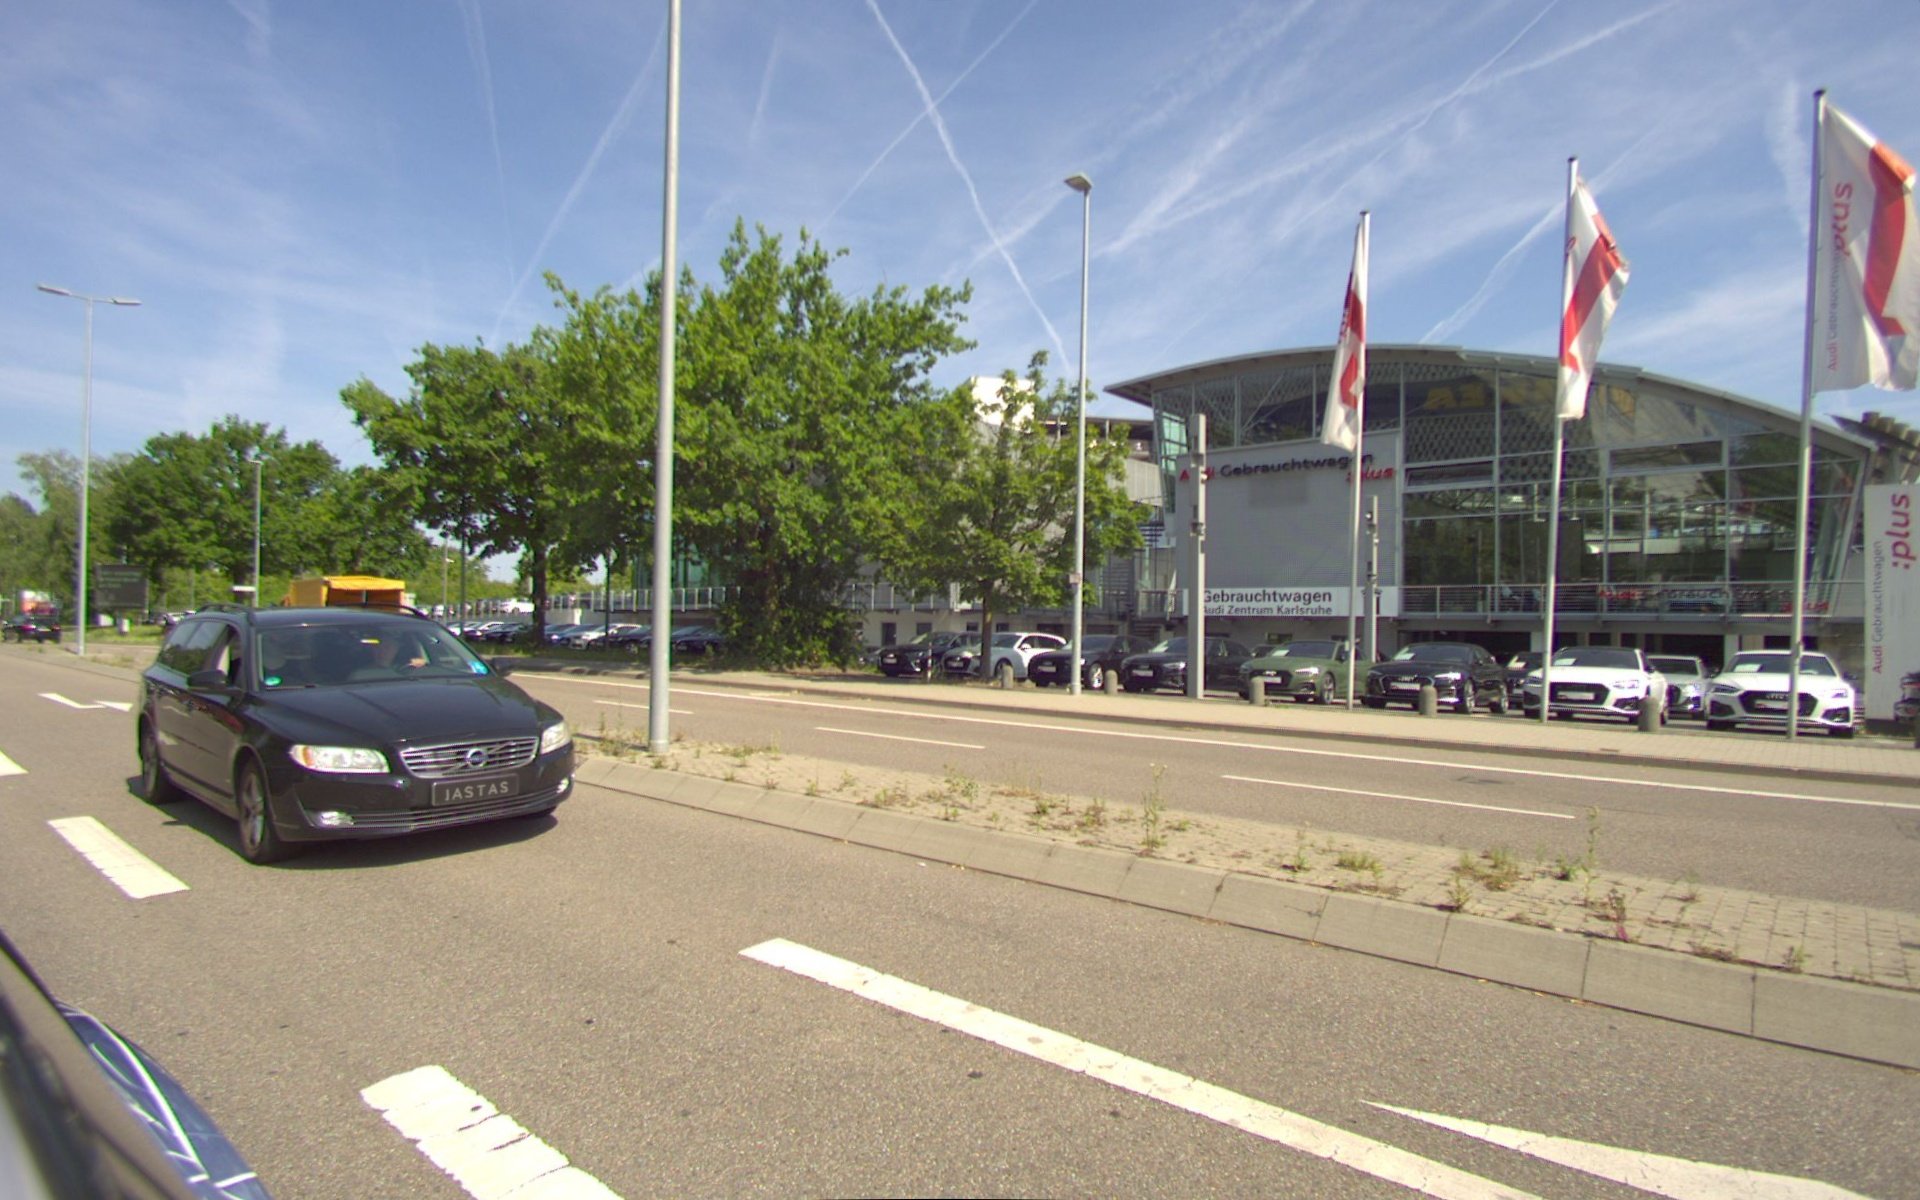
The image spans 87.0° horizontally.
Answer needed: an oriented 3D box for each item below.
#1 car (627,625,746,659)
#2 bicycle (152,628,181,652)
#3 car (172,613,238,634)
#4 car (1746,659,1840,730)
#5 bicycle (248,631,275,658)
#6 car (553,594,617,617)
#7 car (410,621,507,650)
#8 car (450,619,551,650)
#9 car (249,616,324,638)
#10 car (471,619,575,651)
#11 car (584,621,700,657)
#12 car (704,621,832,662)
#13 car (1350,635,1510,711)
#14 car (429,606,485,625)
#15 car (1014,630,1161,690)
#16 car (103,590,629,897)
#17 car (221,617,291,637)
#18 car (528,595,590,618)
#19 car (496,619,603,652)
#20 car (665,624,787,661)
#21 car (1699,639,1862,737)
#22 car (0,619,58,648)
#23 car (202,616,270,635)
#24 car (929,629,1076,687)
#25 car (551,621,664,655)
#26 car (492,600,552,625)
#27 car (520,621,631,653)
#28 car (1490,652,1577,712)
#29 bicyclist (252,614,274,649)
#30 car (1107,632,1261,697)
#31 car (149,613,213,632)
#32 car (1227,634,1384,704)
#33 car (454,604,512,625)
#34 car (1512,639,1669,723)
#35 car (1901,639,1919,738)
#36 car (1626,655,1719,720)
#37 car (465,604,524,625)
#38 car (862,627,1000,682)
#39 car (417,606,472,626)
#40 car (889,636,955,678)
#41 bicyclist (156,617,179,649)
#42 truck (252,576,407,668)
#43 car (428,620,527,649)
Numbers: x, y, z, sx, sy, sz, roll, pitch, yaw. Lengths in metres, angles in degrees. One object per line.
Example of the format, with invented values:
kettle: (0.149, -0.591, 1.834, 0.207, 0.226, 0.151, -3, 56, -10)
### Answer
car: (-10.555, 1.638, 39.258, 1.719, 1.131, 4.141, -1, -5, 42)
bicycle: (-40.683, 2.047, 51.898, 1.764, 1.159, 0.567, 0, -3, 32)
car: (-63.279, 1.974, 84.867, 1.690, 1.510, 4.141, -1, -5, 42)
car: (20.318, 2.249, 24.717, 1.659, 1.484, 3.472, -1, -2, 39)
bicycle: (-30.792, 1.952, 44.616, 1.925, 1.159, 0.565, -1, -2, 44)
car: (-27.953, 0.451, 75.469, 1.690, 1.416, 4.141, -1, -5, 42)
car: (-26.174, 1.877, 52.919, 1.690, 1.335, 4.141, -1, -5, 42)
car: (-22.418, 1.689, 49.482, 1.690, 1.309, 4.141, -1, -5, 42)
car: (-48.783, 1.974, 73.371, 1.690, 1.333, 4.141, -1, -5, 42)
car: (-20.514, 1.675, 47.653, 1.690, 1.269, 4.141, -1, -5, 42)
car: (-12.828, 1.605, 40.997, 1.690, 1.256, 4.141, -1, -5, 42)
car: (-6.691, 1.495, 35.618, 1.796, 1.236, 4.141, -1, -5, 42)
car: (9.435, 1.474, 20.150, 1.837, 1.329, 3.944, -1, -5, 42)
car: (-45.452, 1.410, 91.418, 1.690, 1.510, 4.141, -1, -5, 42)
car: (3.316, 1.560, 25.722, 1.833, 1.365, 4.069, -1, -5, 39)
car: (-4.556, 0.739, 7.360, 4.866, 1.533, 1.858, -1, 0, 41)
car: (-54.600, 2.074, 78.517, 1.690, 1.333, 4.141, -1, -5, 42)
car: (-31.504, 0.564, 79.560, 1.690, 1.510, 4.141, -1, -5, 42)
car: (-18.537, 1.626, 45.820, 1.690, 1.264, 4.141, -1, -5, 42)
car: (-8.569, 1.578, 37.341, 1.695, 1.143, 4.141, -1, -5, 42)
car: (13.544, 1.436, 16.705, 1.877, 1.380, 4.030, -1, -5, 40)
car: (-50.779, 1.791, 55.026, 4.660, 1.471, 1.828, -1, -4, 40)
car: (-58.623, 2.052, 81.950, 1.690, 1.333, 4.141, -1, -5, 42)
car: (1.234, 1.595, 27.450, 1.801, 1.405, 4.172, -1, -5, 40)
car: (-14.773, 1.614, 42.562, 1.690, 1.204, 4.141, -1, -5, 42)
car: (-35.718, 1.018, 82.596, 1.690, 1.745, 4.141, -1, -5, 42)
car: (-16.697, 1.627, 44.087, 1.690, 1.215, 4.141, -1, -5, 42)
car: (16.084, 2.236, 28.328, 1.522, 1.484, 3.472, -1, -2, 40)
bicyclist: (-30.693, 1.382, 44.545, 1.143, 1.494, 0.564, -1, -2, 44)
car: (5.390, 1.564, 23.987, 1.828, 1.365, 4.237, -1, -5, 39)
car: (-69.189, 2.017, 89.929, 1.690, 1.389, 4.141, -1, -5, 42)
car: (7.588, 1.513, 21.981, 1.853, 1.345, 4.132, -1, -5, 40)
car: (-41.159, 1.292, 87.426, 1.690, 1.510, 4.141, -1, -5, 42)
car: (11.564, 1.472, 18.451, 1.867, 1.329, 3.945, -1, -5, 41)
car: (16.789, 1.357, 14.734, 4.423, 1.507, 1.779, -1, -2, 41)
car: (18.493, 2.209, 26.225, 1.665, 1.484, 3.471, -1, -2, 40)
car: (-39.487, 1.228, 85.861, 1.690, 1.510, 4.141, -1, -5, 42)
car: (-0.772, 1.604, 29.284, 1.808, 1.412, 3.984, -1, -5, 40)
car: (-47.507, 1.489, 93.389, 1.690, 1.510, 4.141, -1, -5, 42)
car: (-1.336, 1.889, 34.225, 1.662, 1.343, 3.848, 1, -2, -11)
bicyclist: (-40.620, 1.710, 51.847, 0.907, 1.608, 0.572, 0, -3, 32)
truck: (-20.187, 0.724, 32.234, 6.670, 2.645, 2.350, -1, -3, 42)
car: (-24.410, 1.759, 51.286, 1.690, 1.265, 4.141, -1, -5, 42)
